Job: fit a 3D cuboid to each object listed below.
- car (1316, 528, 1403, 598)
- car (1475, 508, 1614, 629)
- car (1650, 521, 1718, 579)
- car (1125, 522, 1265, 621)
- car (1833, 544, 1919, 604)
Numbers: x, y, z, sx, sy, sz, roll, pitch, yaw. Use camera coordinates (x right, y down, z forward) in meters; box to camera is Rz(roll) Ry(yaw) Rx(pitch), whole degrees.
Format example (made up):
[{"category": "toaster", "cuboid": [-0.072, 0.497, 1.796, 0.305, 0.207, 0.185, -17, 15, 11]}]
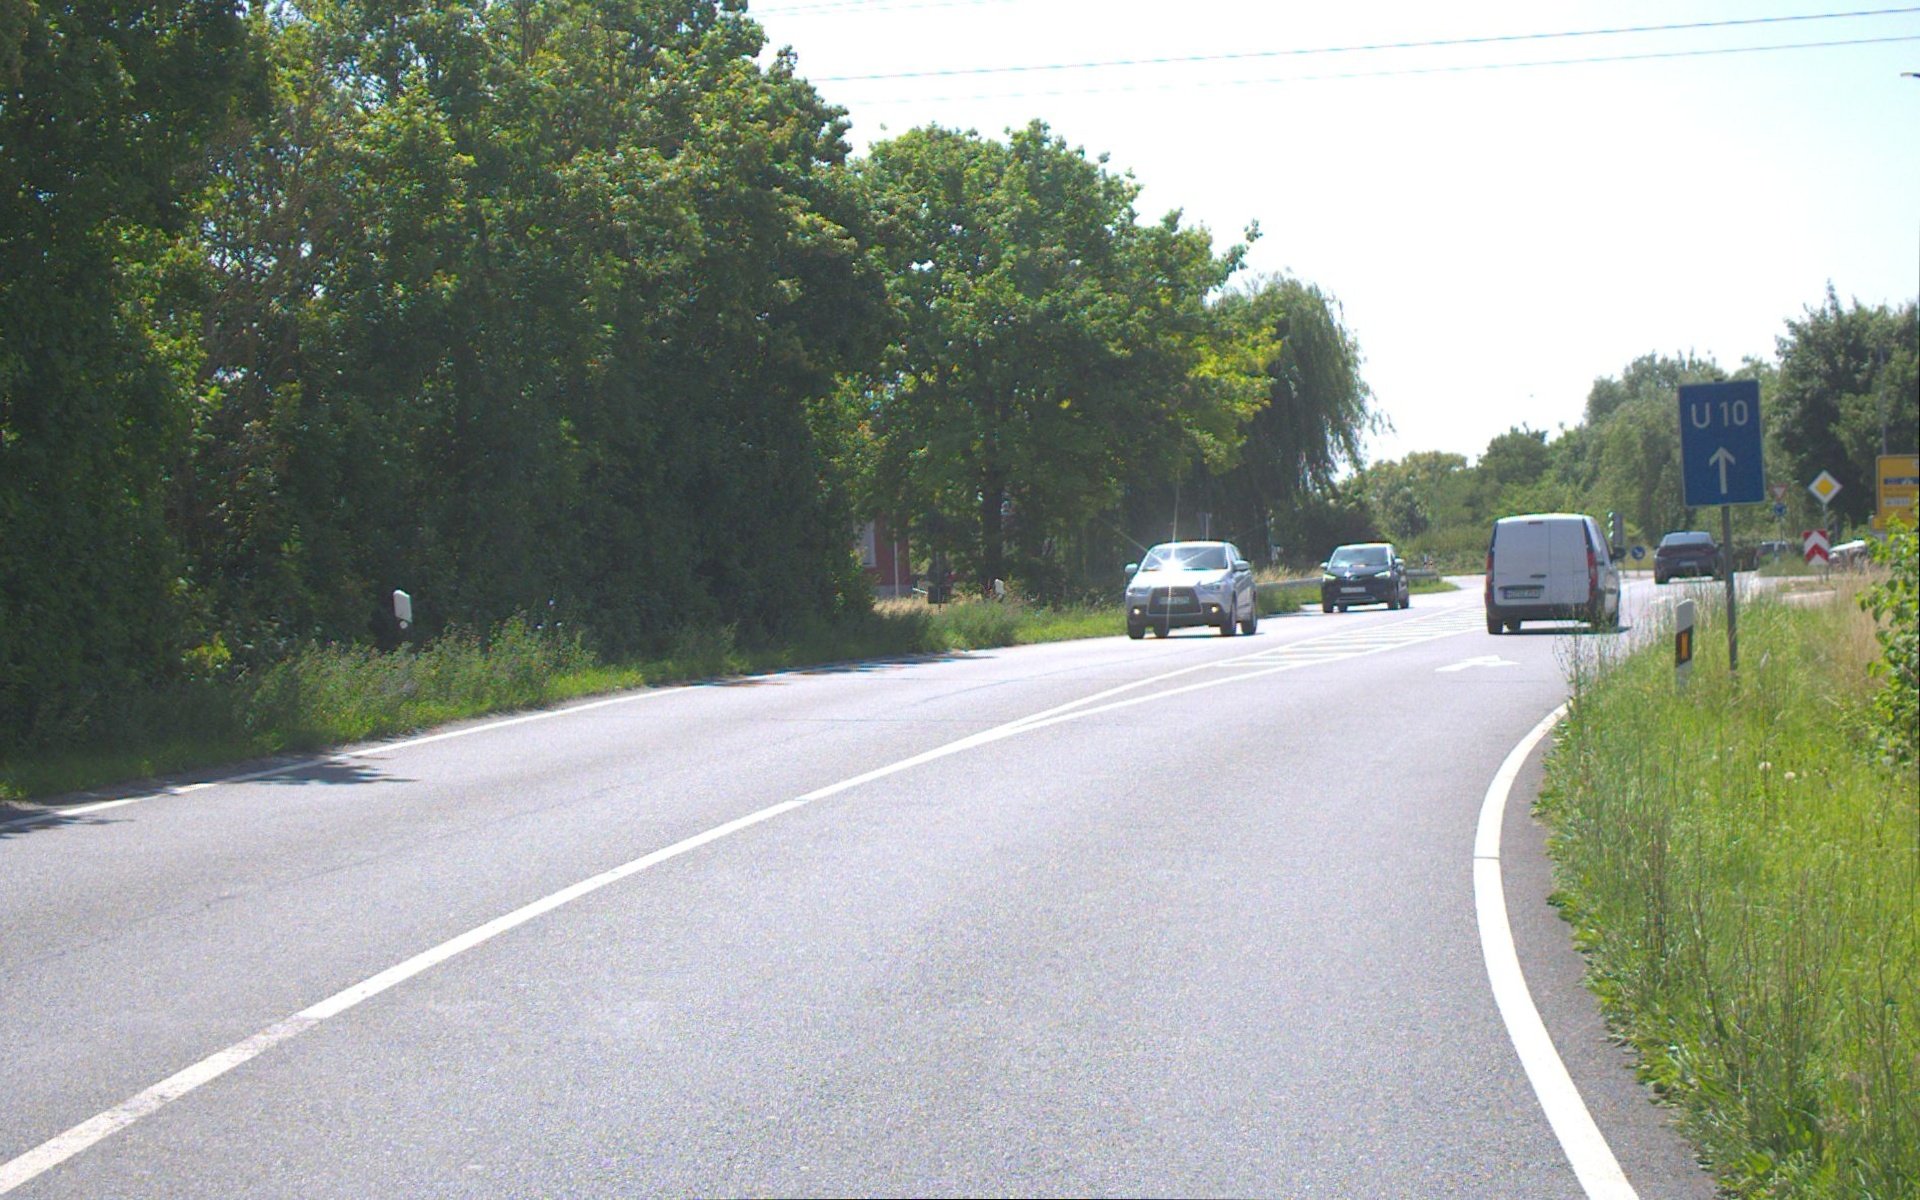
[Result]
[{"category": "car", "cuboid": [9.400, -0.876, 80.729, 1.733, 1.585, 3.956, 0, 1, 11]}, {"category": "car", "cuboid": [8.951, -0.480, 52.418, 1.904, 1.726, 3.820, -1, 0, 12]}, {"category": "car", "cuboid": [21.457, -1.488, 101.809, 1.806, 1.550, 3.998, -2, 2, 13]}, {"category": "car", "cuboid": [3.981, -0.500, 57.732, 1.742, 1.584, 3.998, 0, 1, 13]}, {"category": "car", "cuboid": [26.222, -0.760, 93.971, 4.514, 1.503, 1.913, -3, 1, 14]}]
